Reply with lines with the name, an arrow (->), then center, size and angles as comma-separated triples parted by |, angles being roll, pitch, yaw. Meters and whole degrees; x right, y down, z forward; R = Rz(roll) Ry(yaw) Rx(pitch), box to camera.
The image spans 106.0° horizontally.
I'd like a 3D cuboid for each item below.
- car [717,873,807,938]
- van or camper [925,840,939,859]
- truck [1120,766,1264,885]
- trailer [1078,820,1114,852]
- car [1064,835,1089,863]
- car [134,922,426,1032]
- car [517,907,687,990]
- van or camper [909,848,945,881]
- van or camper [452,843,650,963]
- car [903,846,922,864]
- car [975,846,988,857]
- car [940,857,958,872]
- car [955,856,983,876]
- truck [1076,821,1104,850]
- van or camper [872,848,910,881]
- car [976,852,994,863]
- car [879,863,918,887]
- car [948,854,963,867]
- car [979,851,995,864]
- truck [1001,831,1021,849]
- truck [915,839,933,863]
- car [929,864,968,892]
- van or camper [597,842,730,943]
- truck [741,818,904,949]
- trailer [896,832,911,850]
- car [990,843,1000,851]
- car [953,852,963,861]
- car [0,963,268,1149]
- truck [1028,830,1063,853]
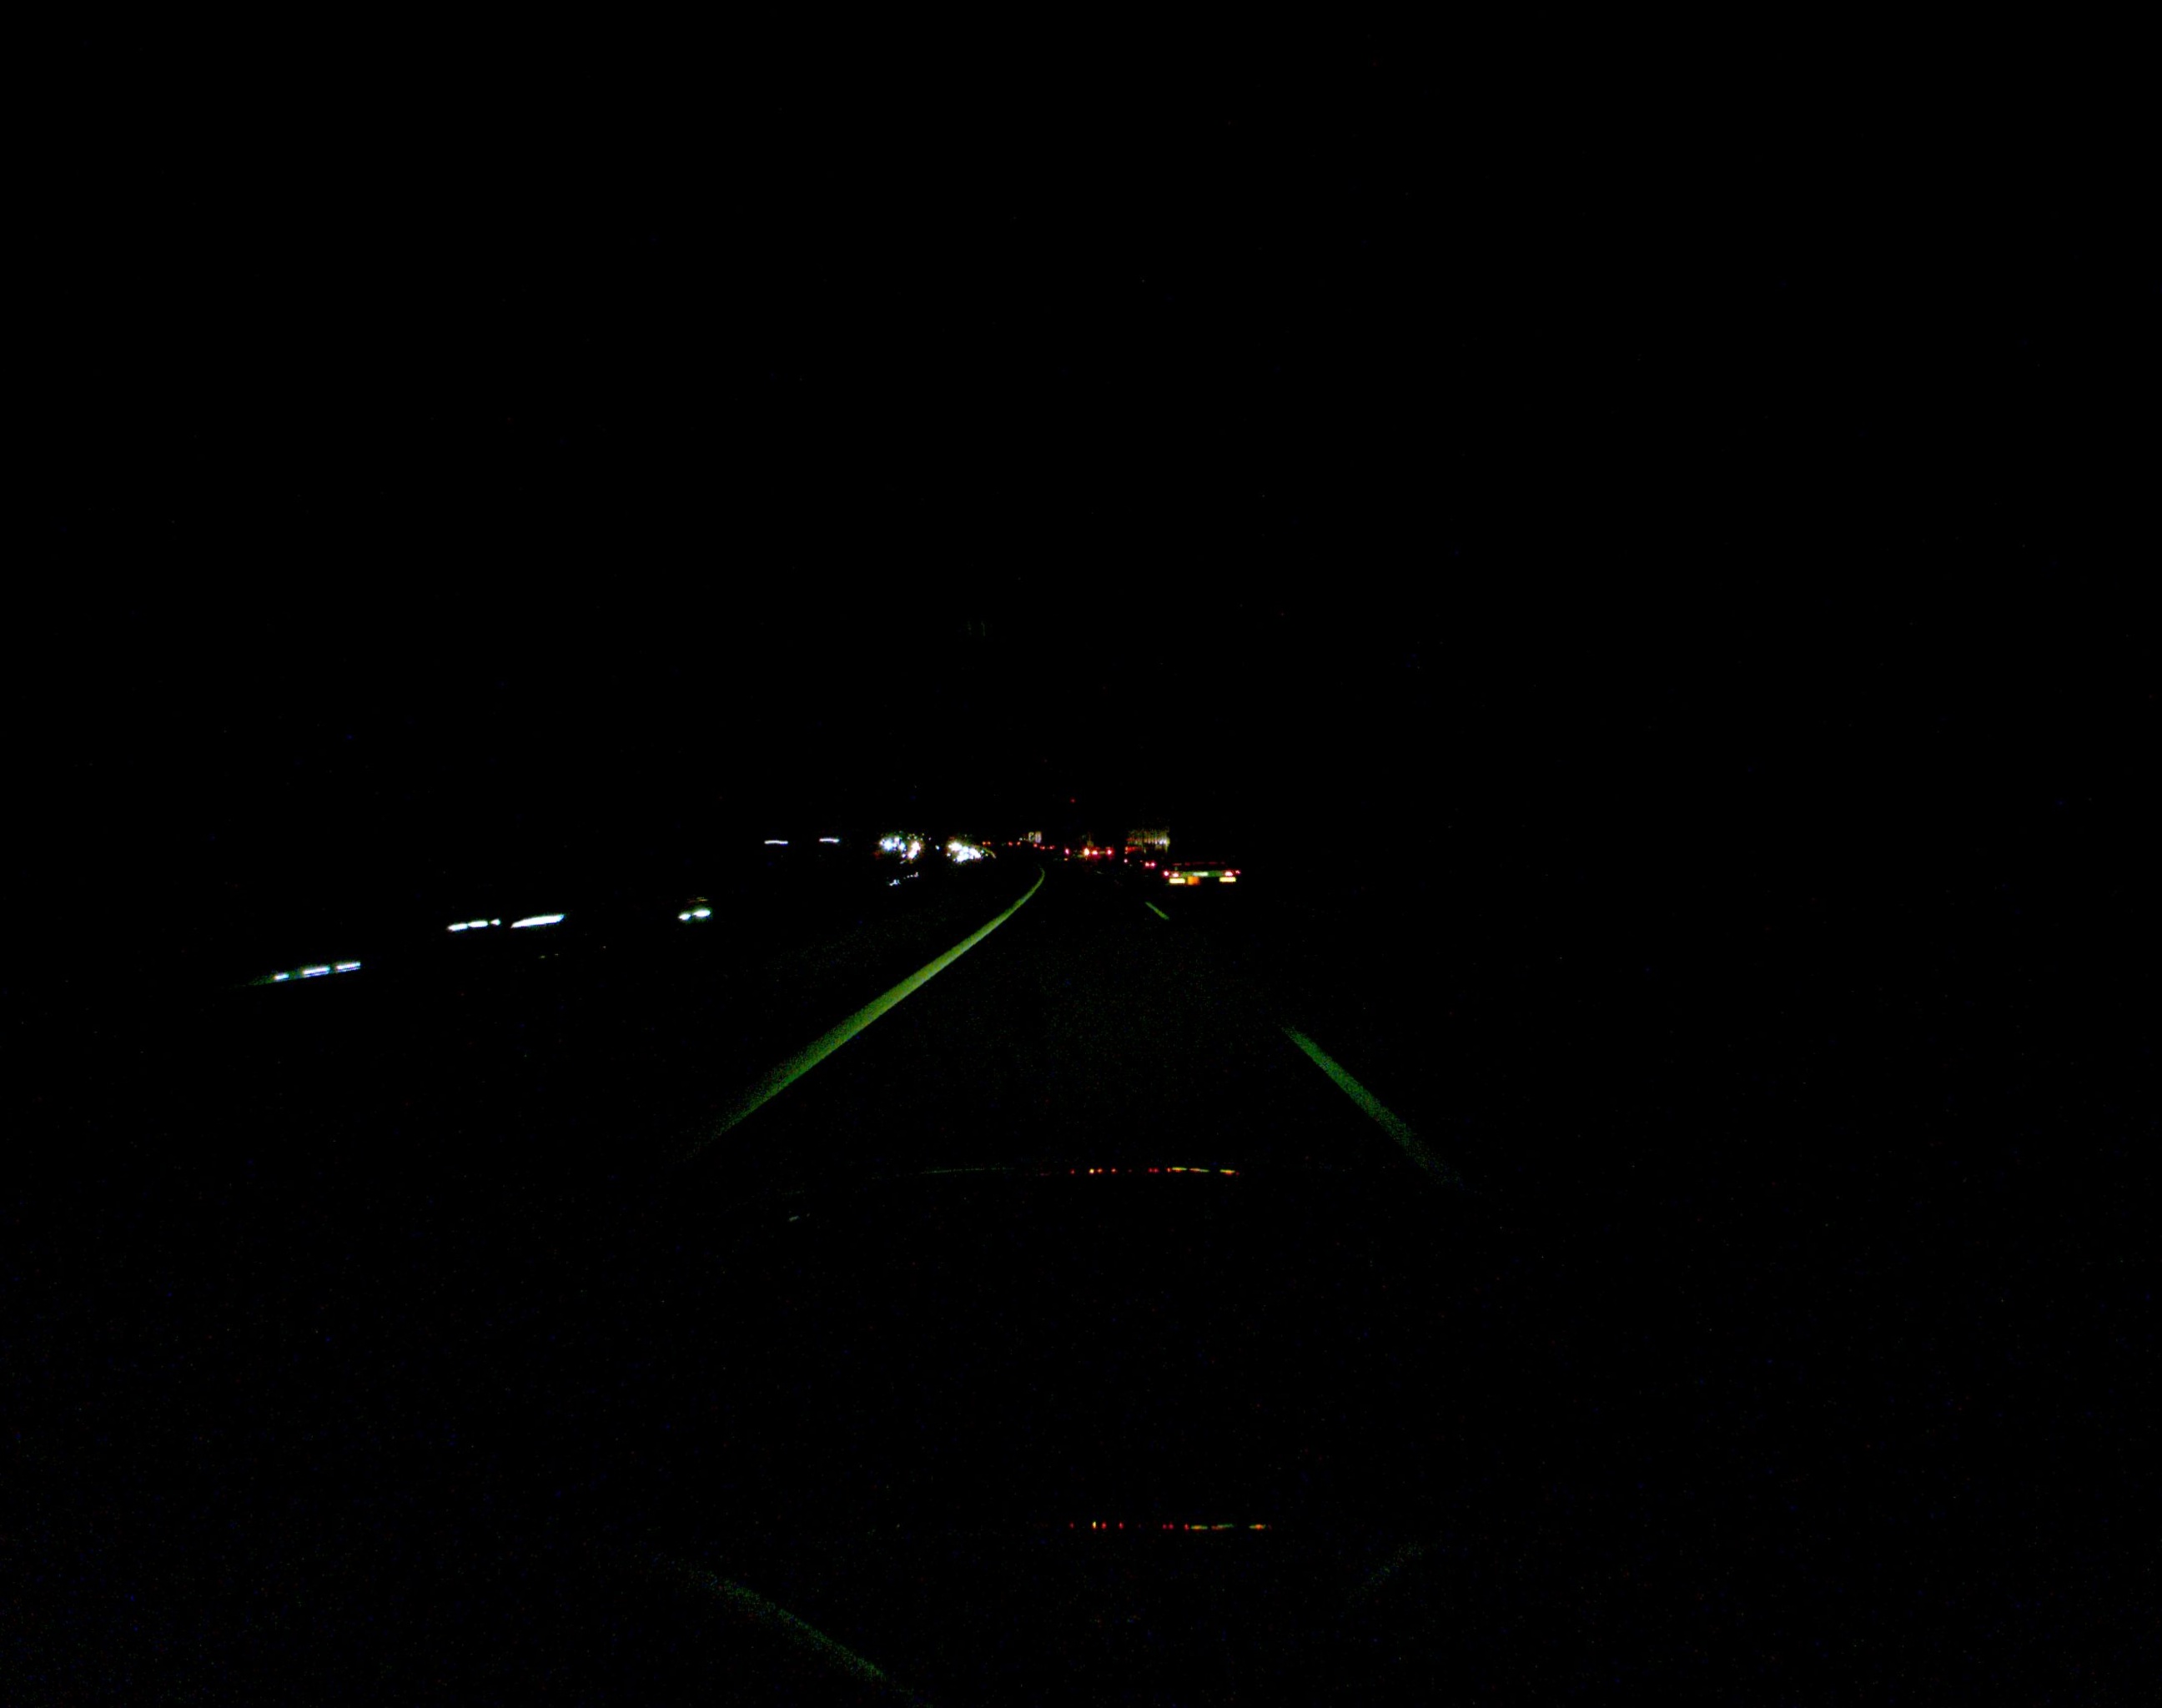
car -> -11.429, 1.782, 29.500 | 1.991, 2.013, 3.992 | -1, 0, -6
van or camper -> -25.658, -0.836, 140.322 | 2.222, 3.003, 7.102 | -2, 2, -9
truck -> 4.300, -0.983, 37.554 | 3.473, 4.135, 18.693 | 0, 0, -2
trailer -> 1.990, -2.545, 113.006 | 2.853, 4.066, 13.169 | -2, 2, -8
car -> -0.415, -0.474, 78.455 | 2.329, 2.640, 5.247 | 0, 0, 0
car -> -15.047, 2.231, 15.670 | 1.595, 1.442, 4.000 | -2, 0, 0
car -> -11.168, 2.141, 19.367 | 1.596, 1.442, 4.136 | -2, 0, -1
van or camper -> -13.471, 0.870, 71.557 | 2.251, 2.594, 6.675 | -3, 1, -5
van or camper -> -15.137, 1.239, 23.858 | 1.830, 2.971, 6.392 | -2, 0, -3
car -> -19.796, 0.133, 95.459 | 1.996, 1.959, 4.964 | -3, 1, -13
car -> -16.039, -0.402, 131.054 | 1.681, 1.566, 3.984 | -5, -1, -11
car -> -15.335, 1.212, 94.703 | 1.602, 1.479, 4.070 | -3, 1, -3
car -> -8.906, 0.961, 64.992 | 1.830, 1.451, 4.499 | -2, 0, -3
truck -> 1.201, -2.719, 118.478 | 2.860, 4.076, 7.491 | -2, 2, -8
van or camper -> -16.915, 0.871, 72.951 | 2.442, 2.760, 6.475 | -2, 0, -6
car -> -12.302, 0.429, 104.049 | 1.756, 1.354, 4.272 | -2, 1, -13
car -> -12.490, 1.430, 56.023 | 1.830, 1.451, 4.499 | -2, 0, -3
car -> -17.578, 0.918, 114.332 | 1.993, 1.660, 4.441 | -2, 1, -9
car -> -11.319, 0.424, 97.915 | 1.753, 1.354, 4.623 | -2, 1, -8
truck -> -18.647, -3.778, 217.273 | 3.348, 4.475, 13.850 | 1, 1, -13
truck -> -23.382, -0.462, 121.201 | 2.376, 3.259, 7.694 | -3, 1, -11
car -> -7.951, 1.428, 49.310 | 1.815, 1.451, 4.499 | -2, 0, -3
van or camper -> -15.578, 1.312, 30.863 | 2.264, 3.379, 5.687 | -2, 0, -4
truck -> -8.067, 0.815, 26.793 | 2.646, 3.591, 8.548 | 0, 0, 0
trailer -> -45.934, -3.421, 210.114 | 2.845, 4.170, 13.215 | -4, 2, -15
car -> -14.780, -1.165, 139.429 | 1.418, 1.256, 3.118 | -2, 2, -10
car -> -22.325, 0.383, 147.848 | 1.640, 1.539, 3.989 | -2, 1, -8
car -> -11.409, 2.189, 8.587 | 1.595, 1.442, 4.000 | -2, 1, 0
truck -> -7.967, -2.782, 178.182 | 3.919, 4.626, 20.927 | -2, 2, -13
